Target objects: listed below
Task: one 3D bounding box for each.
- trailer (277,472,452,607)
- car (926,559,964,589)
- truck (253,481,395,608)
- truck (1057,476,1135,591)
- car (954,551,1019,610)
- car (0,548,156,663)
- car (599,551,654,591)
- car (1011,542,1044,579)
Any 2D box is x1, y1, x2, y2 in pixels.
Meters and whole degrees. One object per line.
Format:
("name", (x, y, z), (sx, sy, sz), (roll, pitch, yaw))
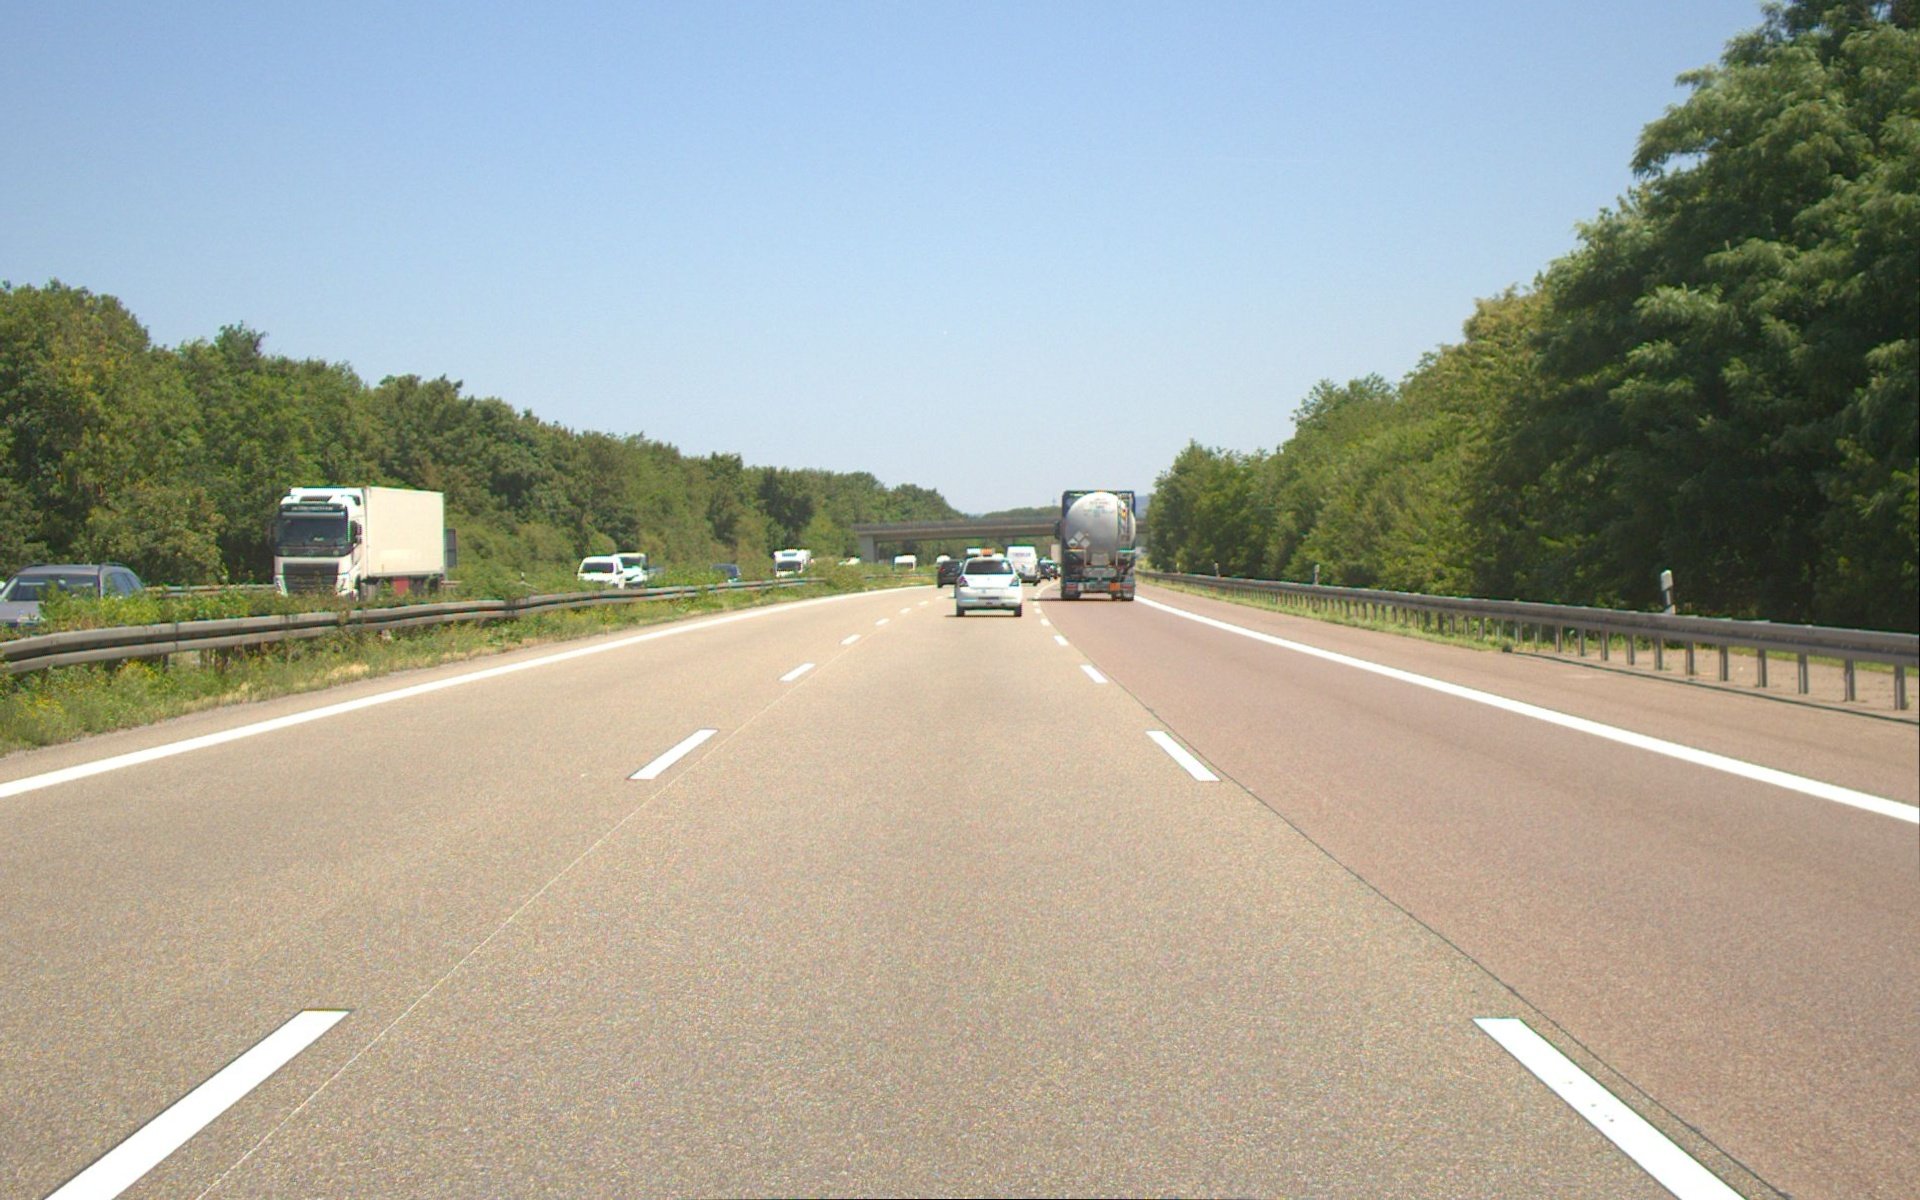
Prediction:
("trailer", (-20.098, -2.026, 117.047), (3.311, 4.347, 13.587), (0, 1, 1))
("car", (-0.868, -1.524, 198.665), (1.993, 1.719, 4.786), (0, 1, 2))
("truck", (-20.266, -1.745, 109.909), (3.261, 3.938, 6.100), (0, 0, 1))
("truck", (4.976, -2.396, 126.748), (2.739, 4.038, 10.454), (0, 1, 2))
("car", (0.670, -0.510, 88.461), (1.627, 1.474, 4.000), (0, 1, 0))
("car", (-12.756, 0.041, 48.829), (1.782, 1.565, 3.981), (0, 1, -1))
("car", (-18.367, -1.629, 189.638), (2.244, 2.165, 6.541), (0, 1, 1))
("car", (4.303, -2.551, 219.692), (1.994, 2.335, 4.386), (0, 1, 3))
